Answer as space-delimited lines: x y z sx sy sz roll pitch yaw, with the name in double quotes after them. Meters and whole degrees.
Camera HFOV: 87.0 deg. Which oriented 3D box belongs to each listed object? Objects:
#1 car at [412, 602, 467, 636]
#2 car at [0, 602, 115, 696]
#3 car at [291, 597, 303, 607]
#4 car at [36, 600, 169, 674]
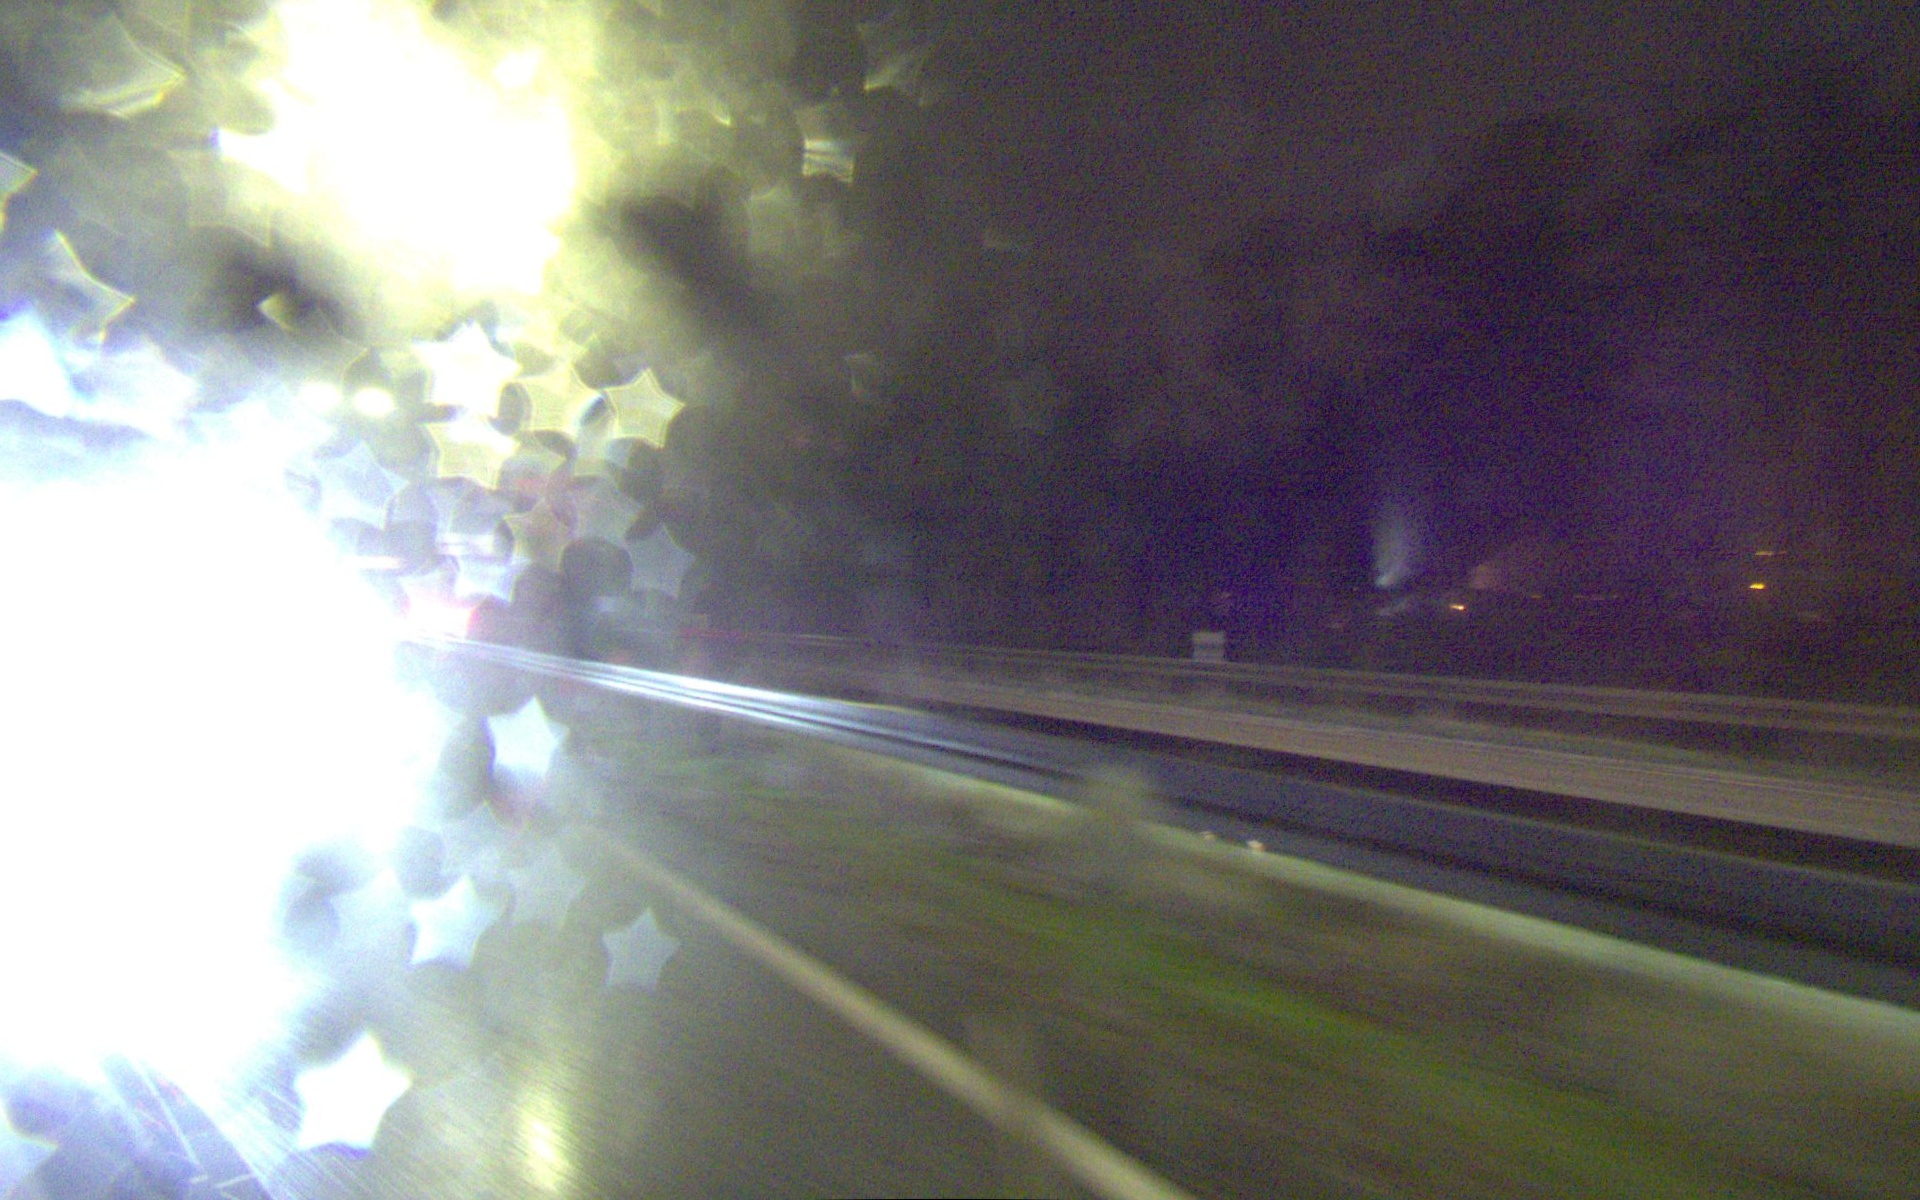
-24.940 0.893 48.425 1.728 1.564 4.020 1 -1 -36 "car"
-16.180 0.788 17.571 1.967 1.475 4.010 1 -1 -35 "car"
-121.980 0.359 186.146 1.760 1.660 4.010 0 0 -36 "car"
-19.677 0.802 23.390 1.967 1.552 4.010 1 -1 -35 "car"
